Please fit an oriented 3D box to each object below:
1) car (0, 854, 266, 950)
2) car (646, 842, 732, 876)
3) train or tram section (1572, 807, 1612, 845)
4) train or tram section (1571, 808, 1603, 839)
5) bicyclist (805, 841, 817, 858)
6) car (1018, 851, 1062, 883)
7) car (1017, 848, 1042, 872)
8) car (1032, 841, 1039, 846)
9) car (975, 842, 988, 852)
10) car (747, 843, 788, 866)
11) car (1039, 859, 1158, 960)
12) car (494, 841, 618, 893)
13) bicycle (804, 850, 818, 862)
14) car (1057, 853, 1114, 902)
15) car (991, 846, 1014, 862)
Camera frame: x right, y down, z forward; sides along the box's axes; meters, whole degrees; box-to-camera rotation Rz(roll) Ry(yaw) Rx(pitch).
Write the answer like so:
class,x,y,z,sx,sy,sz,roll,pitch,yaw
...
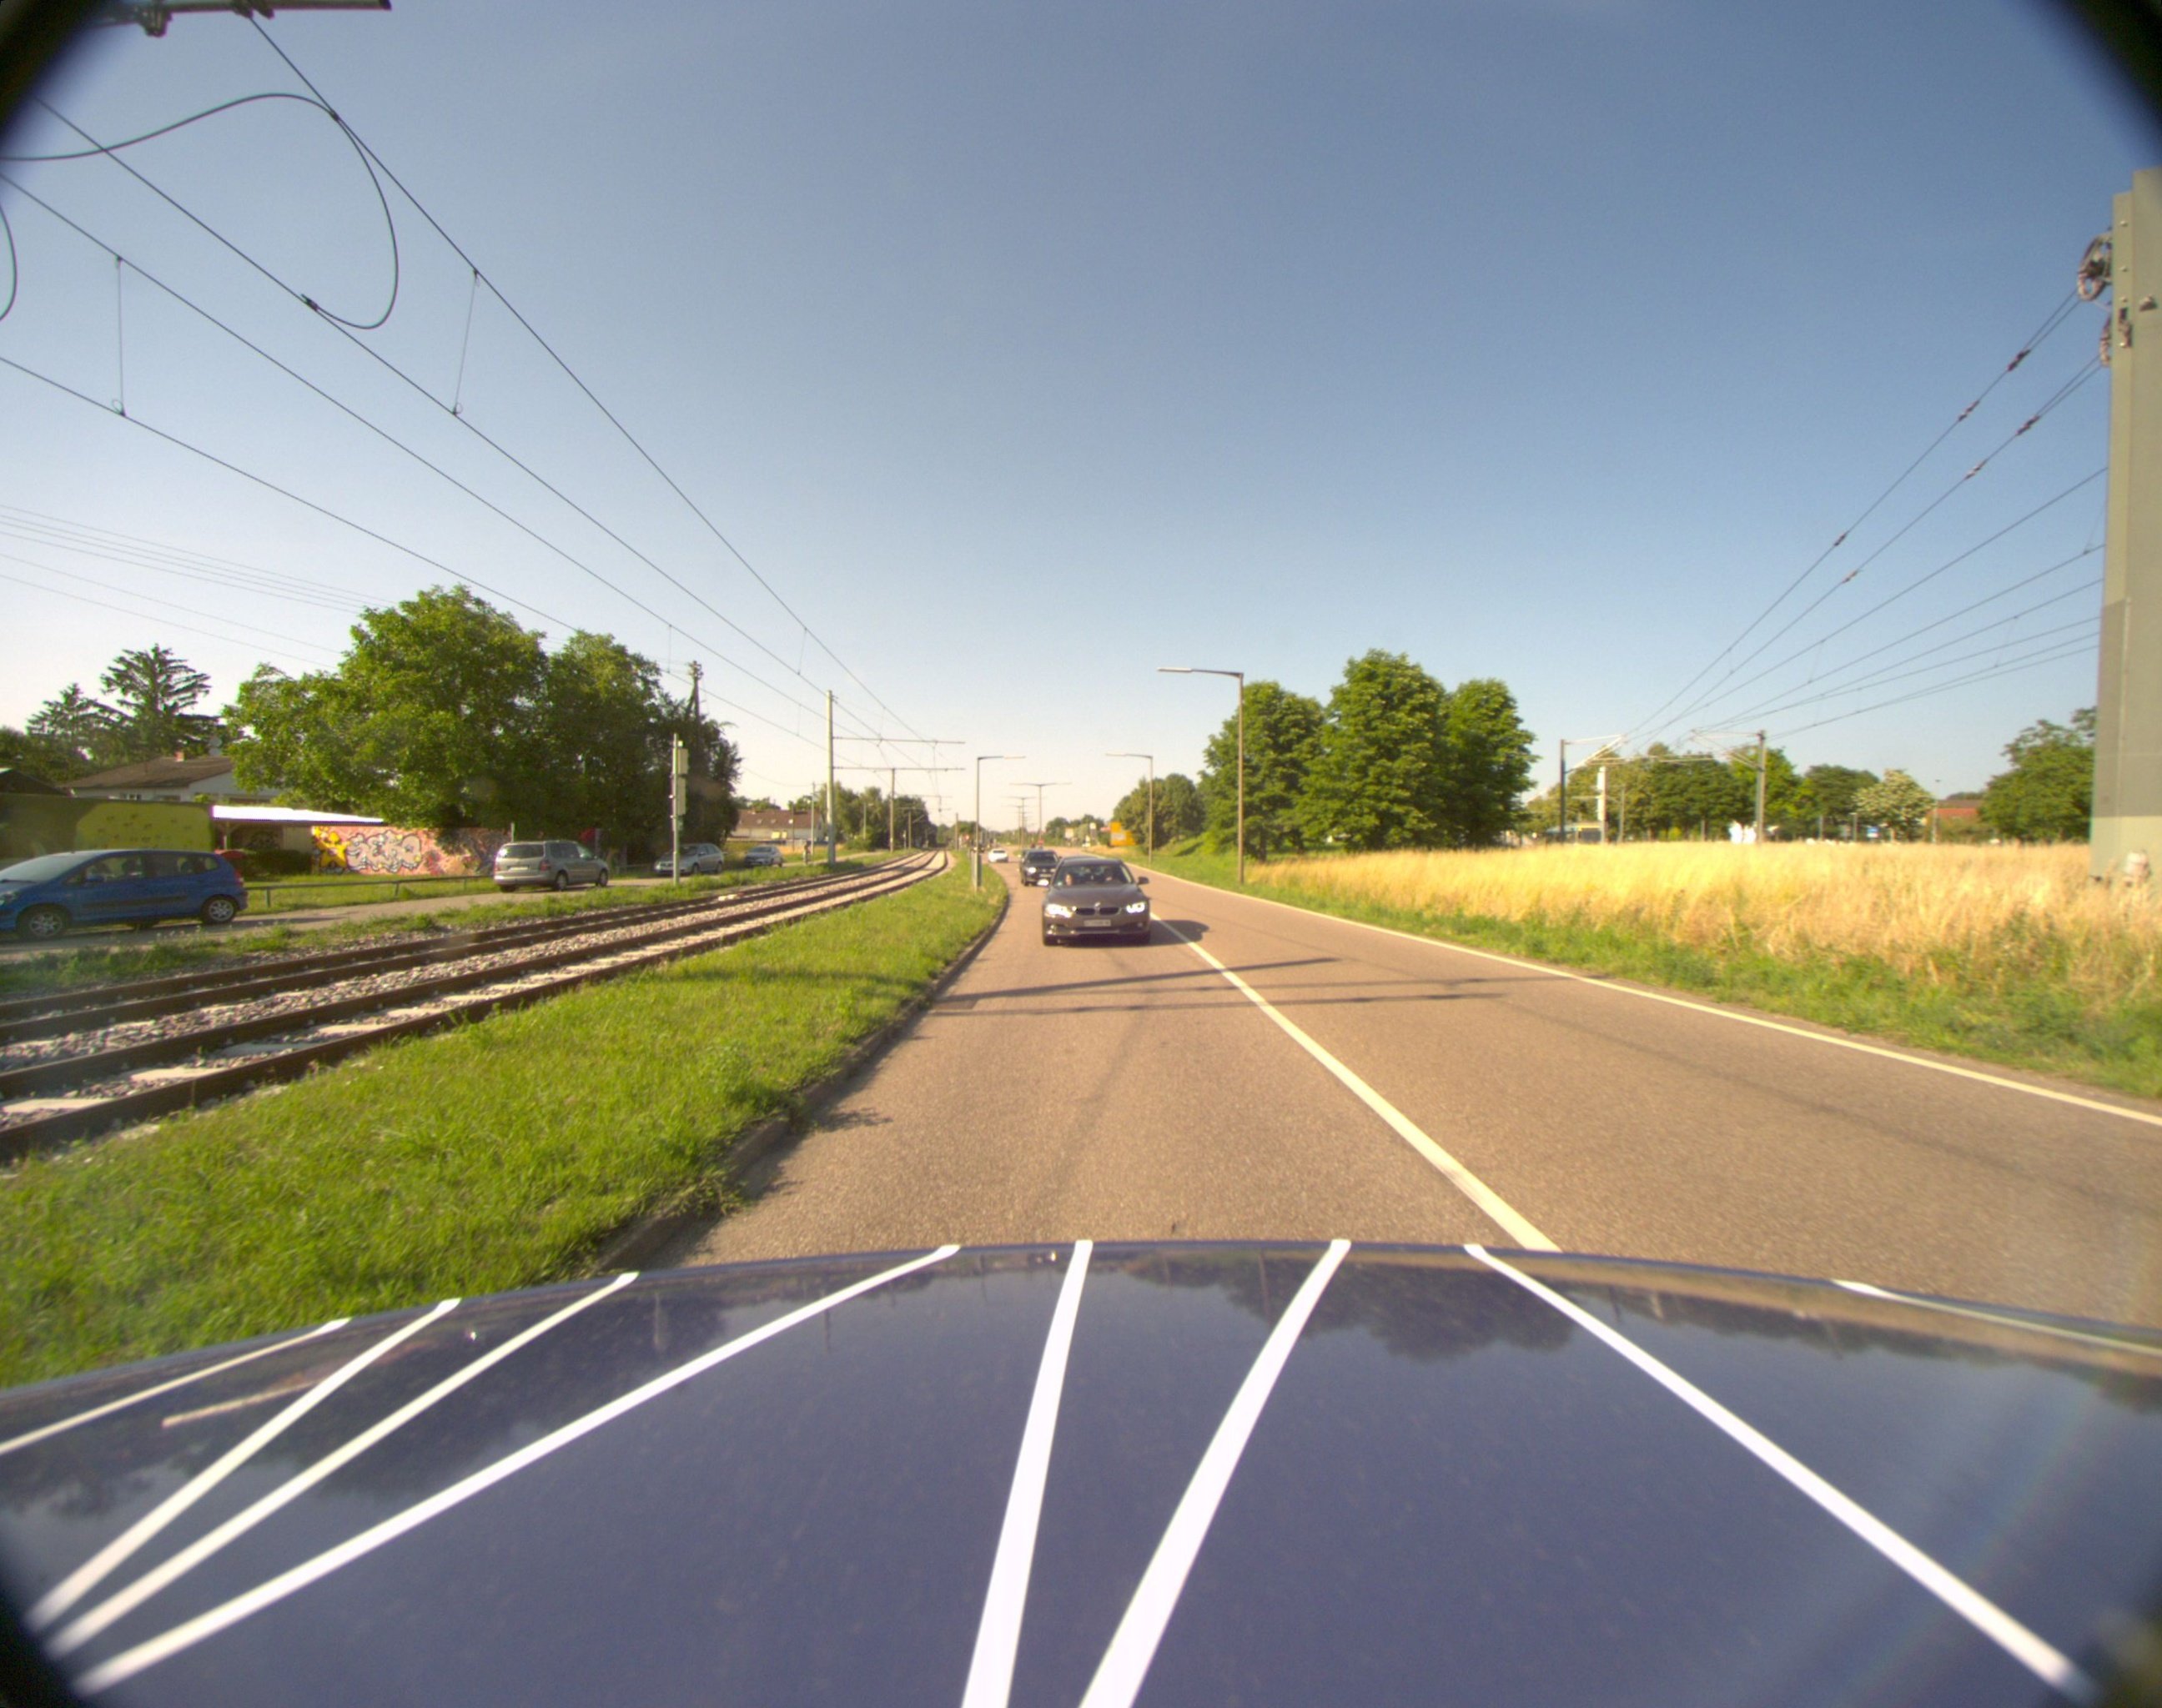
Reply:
class,x,y,z,sx,sy,sz,roll,pitch,yaw
car,-17.469,0.774,13.482,1.682,1.422,3.911,-2,1,2
car,-19.153,0.204,37.376,1.912,1.581,4.725,0,1,-2
train or tram section,53.121,-3.075,79.244,2.908,3.549,14.282,0,3,32
train or tram section,60.169,-3.637,90.518,2.919,3.435,12.186,0,2,32
bicyclist,-20.501,-0.359,57.629,0.641,1.226,0.790,-1,1,-7
car,-1.995,0.563,35.800,1.848,1.348,4.151,-2,1,-6
car,-3.702,0.395,53.951,1.608,1.504,4.265,-2,1,-6
car,-15.149,-3.542,252.114,1.564,1.369,3.381,-3,3,-12
car,-16.300,-1.197,124.562,1.838,1.504,4.149,-2,1,-10
car,-20.355,0.022,49.533,1.539,1.440,4.127,0,1,-9
car,0.207,0.846,13.409,1.747,1.444,3.946,-2,0,-2
car,-17.403,0.374,25.461,1.527,1.601,4.480,0,1,-7
bicycle,-20.496,0.155,57.712,0.645,0.904,1.812,-1,1,-7
car,0.143,0.714,25.551,1.711,1.444,4.589,-1,1,0
car,-8.175,-0.009,78.834,1.970,1.609,4.303,-1,1,-11
